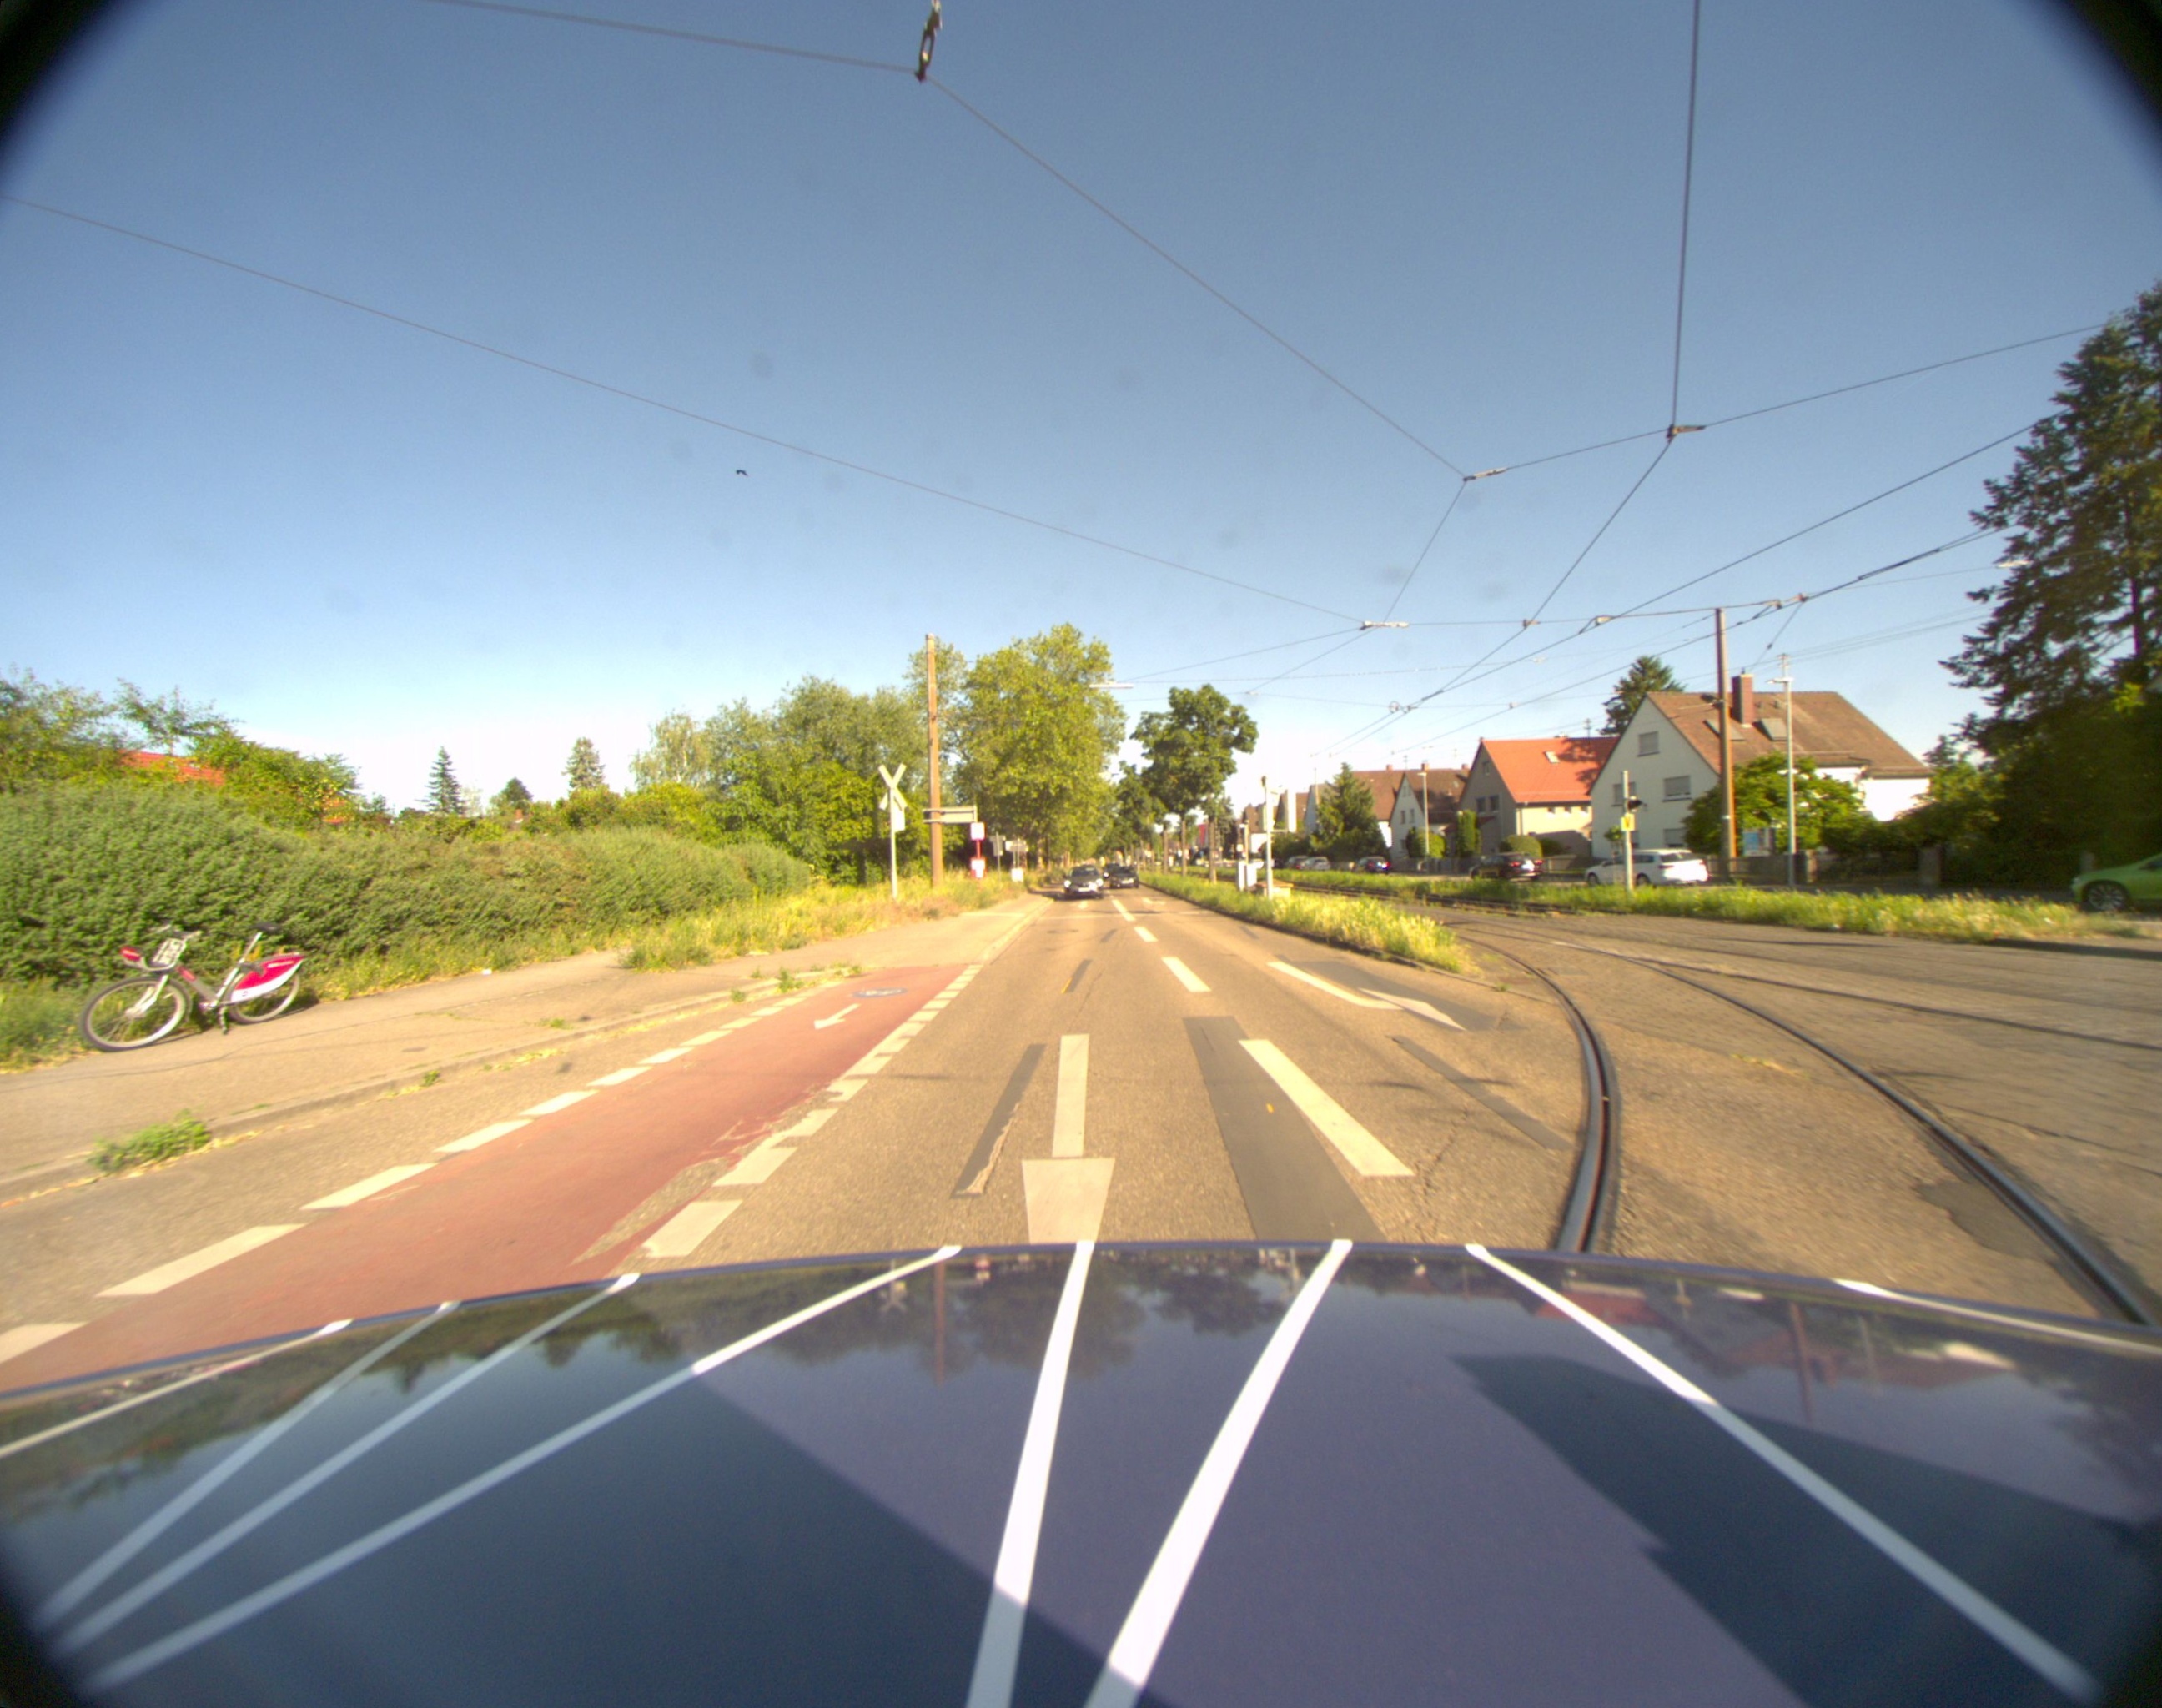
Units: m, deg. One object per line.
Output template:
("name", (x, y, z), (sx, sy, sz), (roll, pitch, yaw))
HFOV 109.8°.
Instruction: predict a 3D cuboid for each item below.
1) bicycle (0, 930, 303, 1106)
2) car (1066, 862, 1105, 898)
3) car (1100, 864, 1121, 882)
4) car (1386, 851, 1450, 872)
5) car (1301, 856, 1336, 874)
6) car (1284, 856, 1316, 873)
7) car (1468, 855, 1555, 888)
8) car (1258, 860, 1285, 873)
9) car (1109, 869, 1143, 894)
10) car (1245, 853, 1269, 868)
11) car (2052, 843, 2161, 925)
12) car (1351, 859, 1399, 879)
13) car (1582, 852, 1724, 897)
("bicycle", (-8.274, 1.354, 6.809), (0.366, 1.128, 2.096), (-2, 0, 2))
("car", (0.198, 1.201, 36.171), (1.673, 1.529, 3.586), (-2, 0, 0))
("car", (2.765, 1.769, 72.001), (1.779, 1.620, 4.288), (-2, -1, 1))
("car", (27.946, 0.621, 63.146), (4.488, 1.461, 1.748), (-4, 0, -1))
("car", (22.349, 1.032, 71.722), (1.888, 1.463, 4.839), (-4, -1, 2))
("car", (22.124, 1.013, 76.778), (1.888, 1.551, 4.537), (-4, 0, 1))
("car", (21.845, 0.840, 38.803), (1.912, 1.457, 4.441), (-3, 0, 1))
("car", (22.143, 1.404, 88.483), (1.998, 1.333, 4.982), (-3, 0, 1))
("car", (2.863, 1.725, 48.982), (1.780, 1.441, 4.334), (-2, 0, -1))
("car", (22.538, 0.853, 97.330), (1.998, 1.852, 4.585), (-2, 0, 1))
("car", (21.732, 0.558, 14.152), (1.999, 1.492, 4.068), (-3, 0, -2))
("car", (22.141, 1.085, 57.409), (1.998, 1.363, 4.310), (-2, 0, 1))
("car", (21.703, 0.723, 29.115), (1.888, 1.463, 4.614), (-3, 0, -1))
